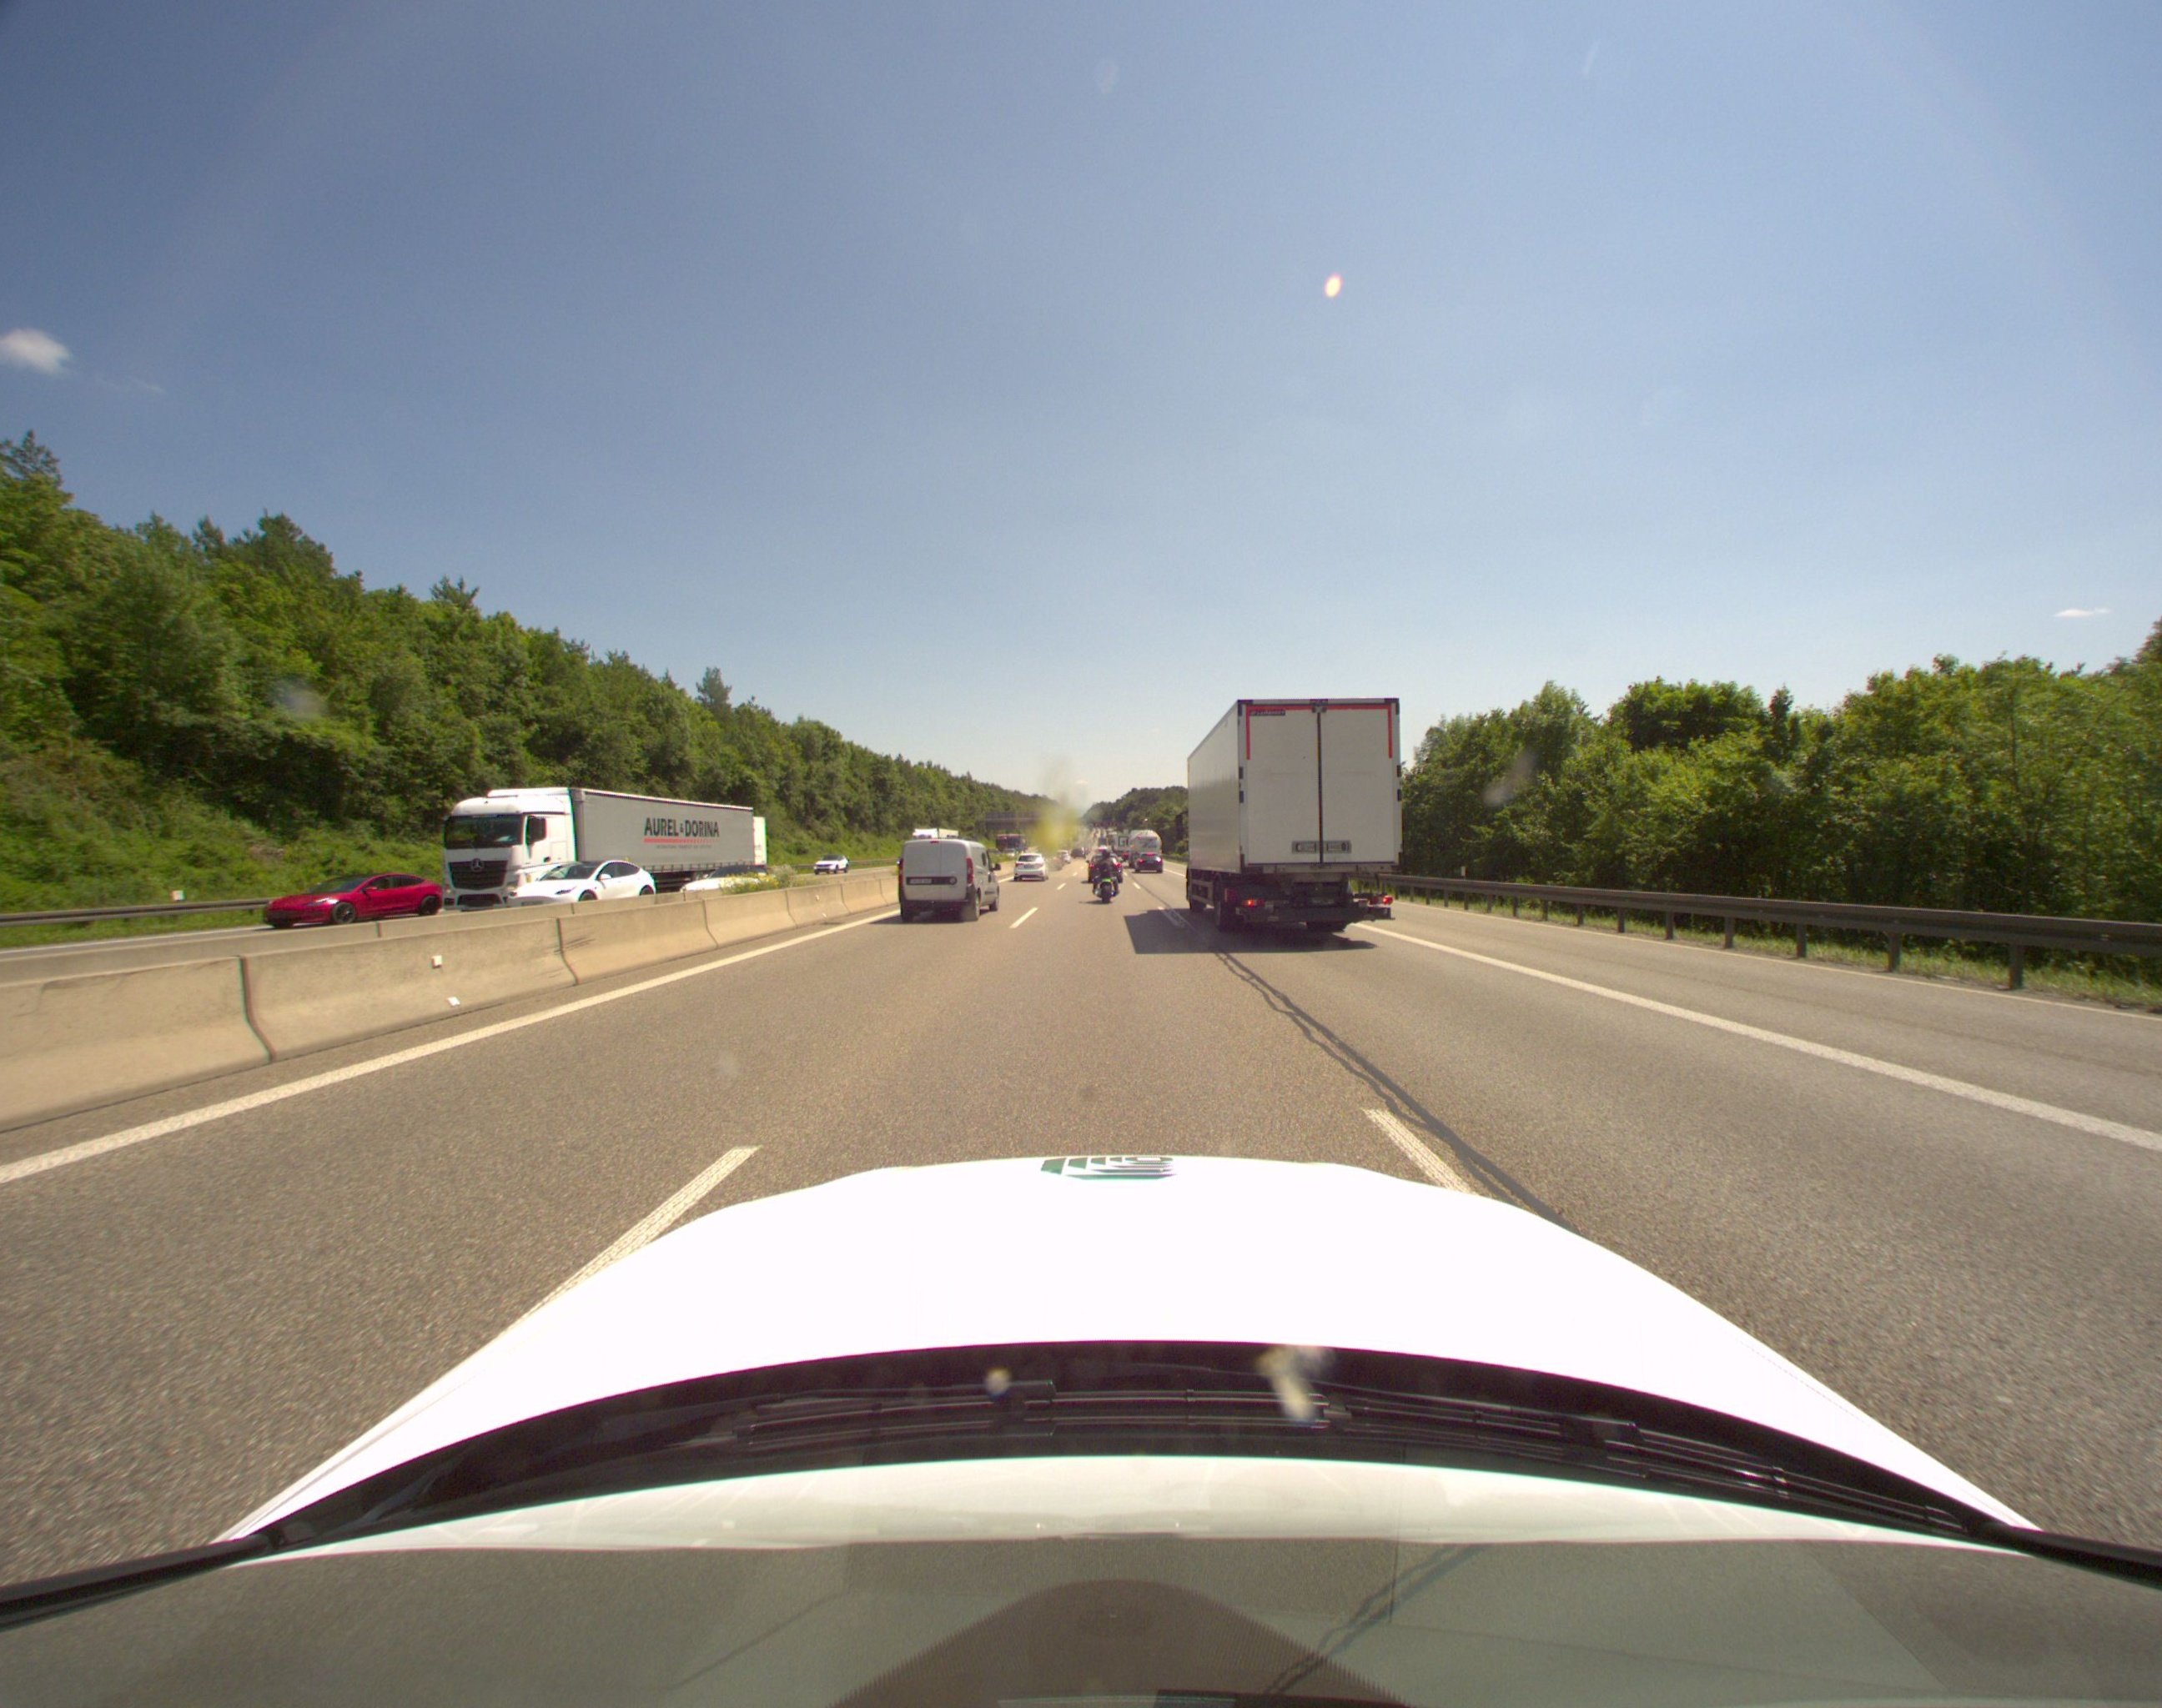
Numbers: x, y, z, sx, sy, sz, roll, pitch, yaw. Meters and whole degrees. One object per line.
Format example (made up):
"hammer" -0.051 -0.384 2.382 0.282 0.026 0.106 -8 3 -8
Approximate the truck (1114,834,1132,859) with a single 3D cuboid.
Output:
"truck" 7.740 -1.416 150.744 3.022 4.542 9.986 1 0 2

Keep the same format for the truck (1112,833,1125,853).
"truck" 9.785 -2.842 213.981 3.022 5.139 9.986 1 0 2

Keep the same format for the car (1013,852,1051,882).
"car" -2.630 0.677 44.546 1.693 1.478 4.002 -1 0 2

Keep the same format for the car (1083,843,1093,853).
"car" 1.470 -1.171 174.005 1.922 2.013 4.002 -3 -1 2

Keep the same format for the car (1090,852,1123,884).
"car" 1.278 0.678 41.882 1.527 1.510 4.001 -3 0 1

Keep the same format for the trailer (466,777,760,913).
"trailer" -17.695 -0.222 33.083 2.824 4.165 14.744 -3 -1 2

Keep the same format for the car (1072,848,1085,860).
"car" -0.332 0.008 121.765 1.873 1.859 4.002 0 0 2

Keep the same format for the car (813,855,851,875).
"car" -20.335 0.872 66.711 1.660 1.466 4.191 -1 0 1

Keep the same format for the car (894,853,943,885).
"car" -10.251 0.949 51.701 1.905 1.847 5.037 -3 -1 1

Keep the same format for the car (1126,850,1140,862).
"car" 6.694 0.262 105.085 1.780 1.555 3.805 -1 0 1

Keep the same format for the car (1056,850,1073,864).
"car" -1.789 0.333 90.440 1.693 1.478 4.002 -1 0 2

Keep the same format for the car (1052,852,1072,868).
"car" -1.788 0.566 78.757 1.693 1.478 4.002 -1 0 2

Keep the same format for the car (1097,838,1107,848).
"car" 5.577 -2.942 217.172 2.495 2.587 5.018 -1 0 1

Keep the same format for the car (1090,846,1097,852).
"car" 3.834 -1.618 253.503 1.986 2.013 4.002 0 0 2

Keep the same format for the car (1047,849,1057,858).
"car" -6.747 -0.111 189.720 1.873 2.013 4.470 -4 -1 2

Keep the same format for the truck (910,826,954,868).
"truck" -15.982 -0.702 87.631 2.791 4.165 7.606 -2 -1 3

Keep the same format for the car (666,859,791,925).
"car" -10.800 1.096 25.298 1.986 1.794 4.001 -3 -1 1

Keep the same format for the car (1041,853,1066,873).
"car" -2.149 0.713 64.430 1.693 1.478 4.002 -1 0 2

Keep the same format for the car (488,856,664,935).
"car" -14.265 1.098 23.434 1.987 1.949 4.749 -3 -1 1

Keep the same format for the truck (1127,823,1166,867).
"truck" 5.881 -0.716 74.879 2.977 3.671 9.290 -3 -1 2

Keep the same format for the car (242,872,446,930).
"car" -21.317 1.307 23.879 1.756 1.370 4.503 -2 0 2

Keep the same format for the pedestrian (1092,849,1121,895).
"pedestrian" 0.795 0.547 25.119 0.846 1.362 0.962 -2 0 2

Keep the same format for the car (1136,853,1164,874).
"car" 4.972 0.667 58.819 1.822 1.470 4.002 0 0 2

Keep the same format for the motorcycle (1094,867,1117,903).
"motorcycle" 0.777 0.929 25.268 0.688 1.015 2.123 0 0 3

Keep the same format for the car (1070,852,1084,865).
"car" -0.681 0.728 136.105 1.986 2.013 4.002 -3 -1 2

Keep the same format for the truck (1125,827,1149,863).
"truck" 5.710 -0.849 83.981 1.988 3.522 4.749 -2 -1 -1

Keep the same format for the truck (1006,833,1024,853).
"truck" -13.933 -2.206 172.723 2.895 3.974 7.771 -3 -1 1

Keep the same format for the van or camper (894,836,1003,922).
"van or camper" -3.120 0.572 20.007 1.788 1.892 4.163 0 0 3

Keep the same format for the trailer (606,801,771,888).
"trailer" -21.099 -0.416 45.073 2.798 4.047 12.625 -2 -1 0

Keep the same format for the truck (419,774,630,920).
"truck" -17.915 -0.214 26.741 2.830 4.214 5.662 -1 0 1

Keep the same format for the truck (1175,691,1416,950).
"truck" 3.894 -0.530 17.538 2.678 3.876 9.783 -3 0 2
